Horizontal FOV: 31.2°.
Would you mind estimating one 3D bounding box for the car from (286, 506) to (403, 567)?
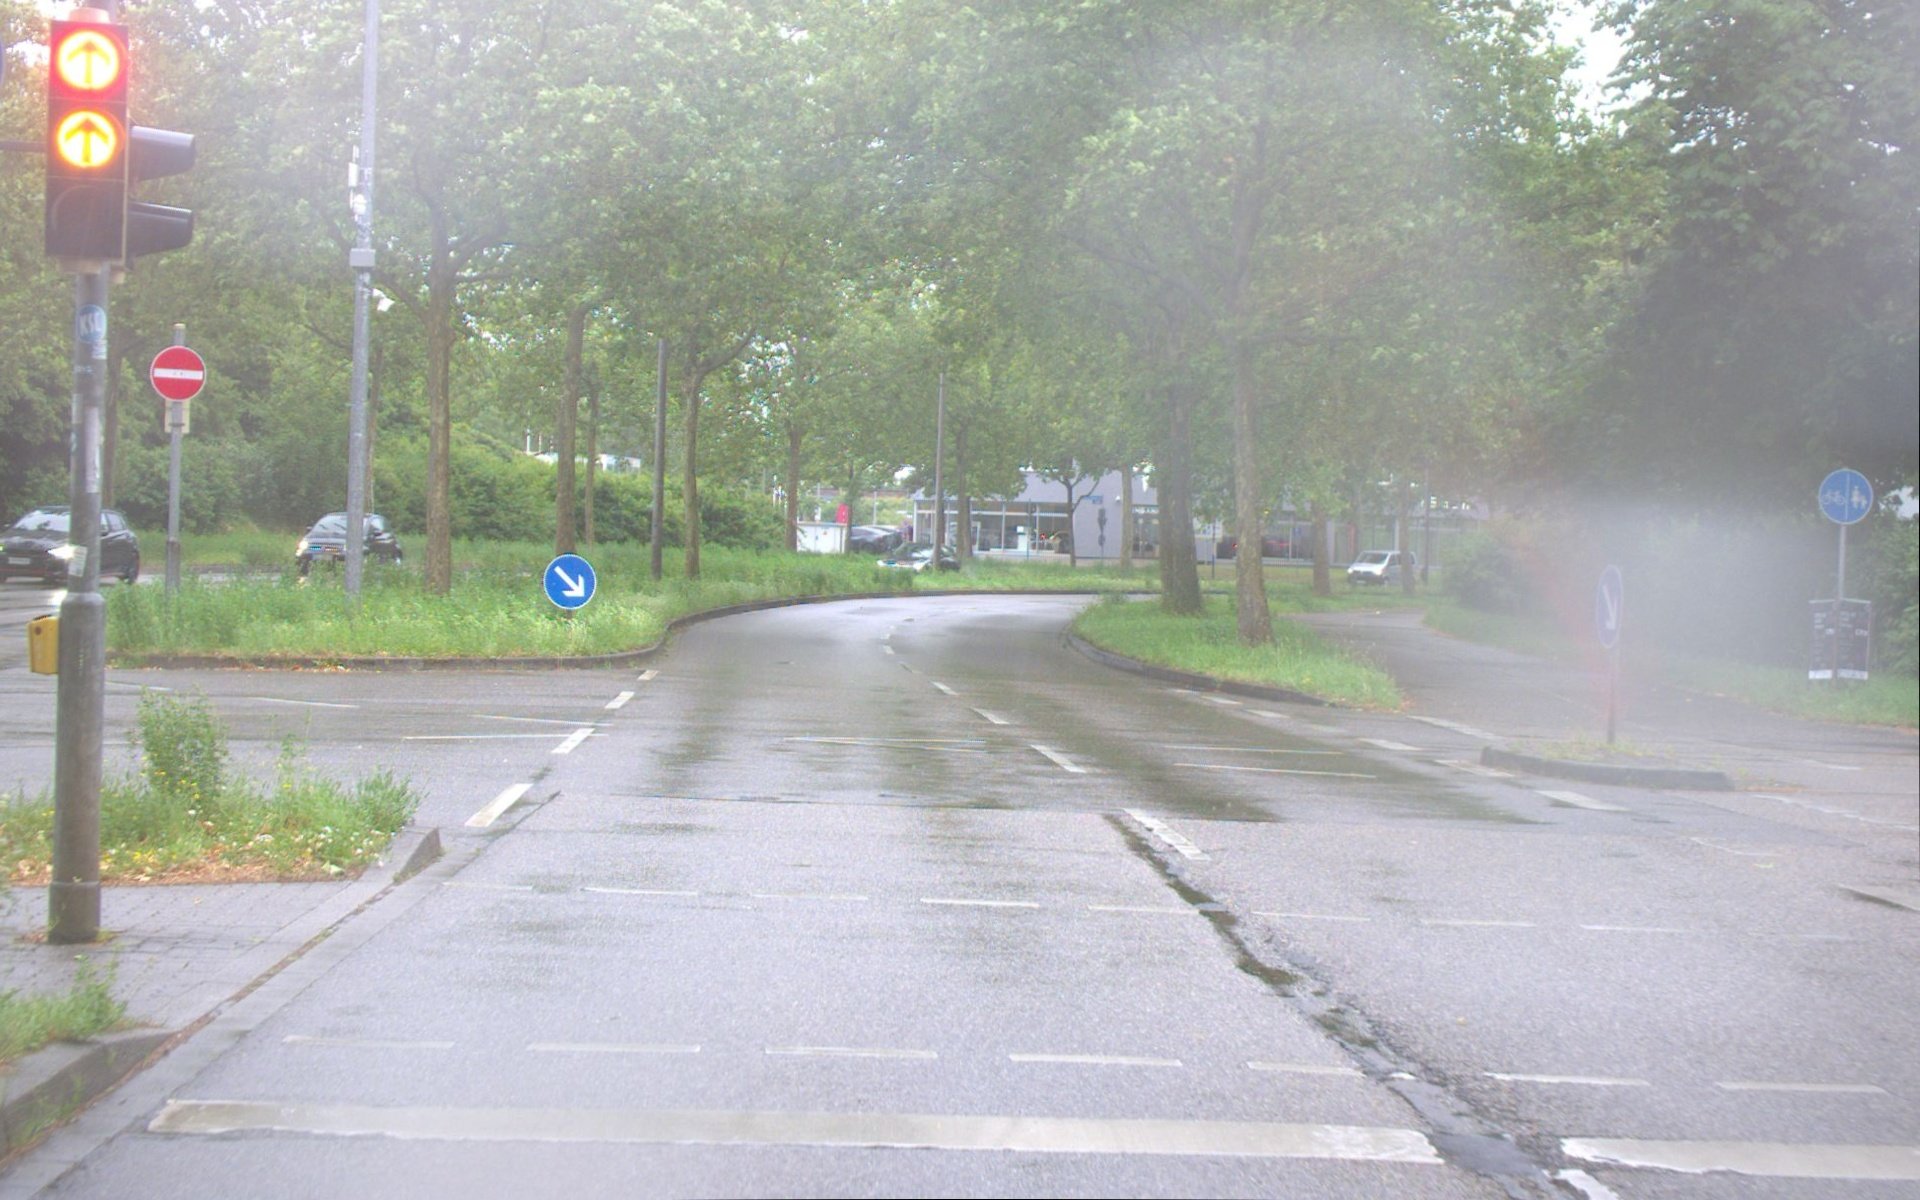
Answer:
[{"bbox_3d":[-14.429,-1.489,80.795,1.587,1.368,4.261,2,1,6],"label":"car"}]

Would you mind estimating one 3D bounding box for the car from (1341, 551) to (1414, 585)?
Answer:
[{"bbox_3d":[20.598,-1.563,169.432,1.975,1.558,4.723,3,1,28],"label":"car"}]

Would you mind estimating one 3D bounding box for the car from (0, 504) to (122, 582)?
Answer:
[{"bbox_3d":[-16.866,-1.059,63.506,1.587,1.368,4.262,1,1,2],"label":"car"}]

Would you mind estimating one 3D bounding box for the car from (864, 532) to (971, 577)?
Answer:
[{"bbox_3d":[-1.409,-1.551,116.594,2.005,1.447,4.987,2,1,19],"label":"car"}]

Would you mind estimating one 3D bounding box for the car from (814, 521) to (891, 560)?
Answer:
[{"bbox_3d":[-5.967,-3.310,191.334,3.986,2.007,2.000,2,0,-10],"label":"car"}]
